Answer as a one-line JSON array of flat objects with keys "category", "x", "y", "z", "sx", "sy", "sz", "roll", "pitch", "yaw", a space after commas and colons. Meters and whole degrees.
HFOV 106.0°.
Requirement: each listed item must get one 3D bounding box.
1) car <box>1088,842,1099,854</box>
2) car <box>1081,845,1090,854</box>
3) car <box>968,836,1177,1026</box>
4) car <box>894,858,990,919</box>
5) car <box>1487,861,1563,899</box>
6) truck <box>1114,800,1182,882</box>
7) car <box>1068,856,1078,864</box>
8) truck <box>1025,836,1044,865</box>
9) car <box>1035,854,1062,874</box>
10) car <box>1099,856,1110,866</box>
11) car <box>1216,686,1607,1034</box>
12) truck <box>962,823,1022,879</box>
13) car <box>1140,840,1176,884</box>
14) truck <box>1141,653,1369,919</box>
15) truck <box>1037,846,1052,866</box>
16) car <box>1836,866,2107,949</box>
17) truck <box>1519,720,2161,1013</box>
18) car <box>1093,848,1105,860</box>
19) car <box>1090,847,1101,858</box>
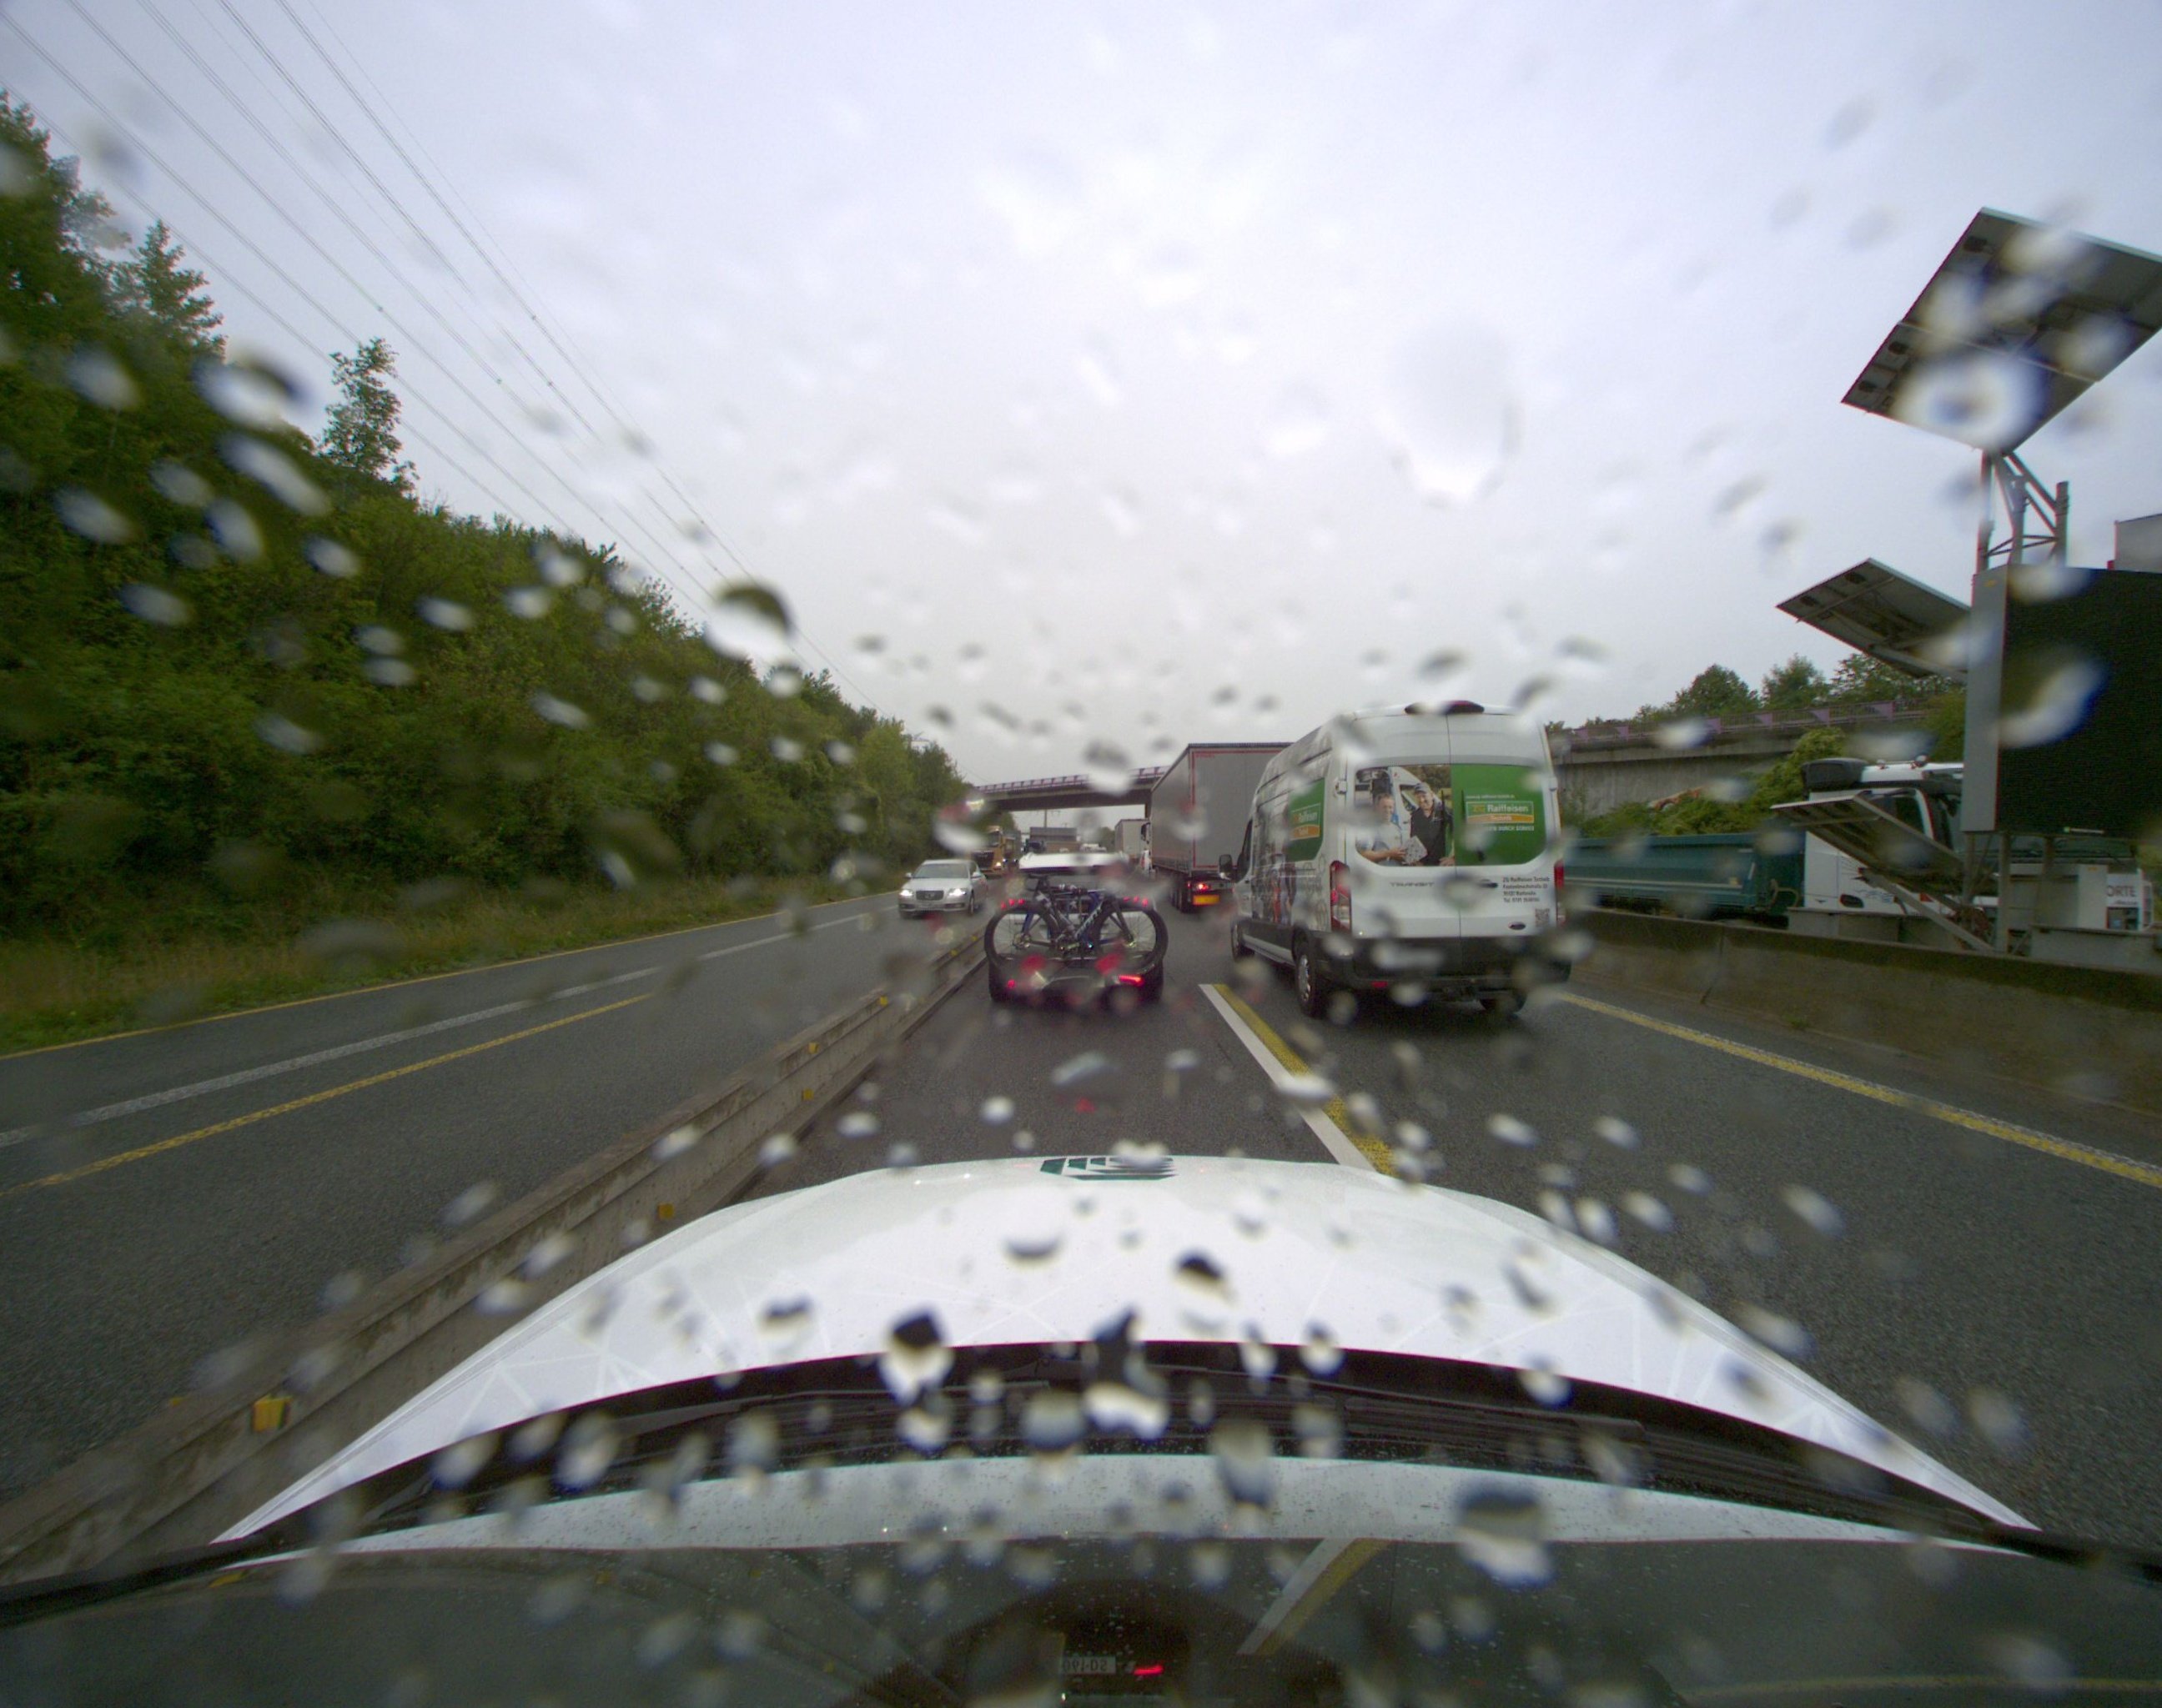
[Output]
[{"category": "car", "x": 2.523, "y": -1.166, "z": 164.637, "sx": 2.231, "sy": 2.307, "sz": 4.573, "roll": -1, "pitch": -1, "yaw": 2}, {"category": "car", "x": 1.104, "y": -1.023, "z": 190.648, "sx": 1.986, "sy": 2.126, "sz": 4.528, "roll": -1, "pitch": -1, "yaw": 2}, {"category": "car", "x": 0.032, "y": 0.693, "z": 9.426, "sx": 1.803, "sy": 1.637, "sz": 4.638, "roll": -1, "pitch": -1, "yaw": 3}, {"category": "car", "x": -3.580, "y": 0.838, "z": 21.750, "sx": 1.774, "sy": 1.443, "sz": 4.328, "roll": -1, "pitch": -1, "yaw": 0}, {"category": "car", "x": 22.556, "y": 1.293, "z": 41.557, "sx": 1.839, "sy": 1.809, "sz": 4.161, "roll": -1, "pitch": -1, "yaw": 4}, {"category": "truck", "x": 5.223, "y": -0.835, "z": 67.677, "sx": 4.724, "sy": 5.673, "sz": 20.389, "roll": -1, "pitch": 0, "yaw": 3}, {"category": "car", "x": -1.473, "y": 1.082, "z": 144.240, "sx": 1.681, "sy": 1.409, "sz": 3.929, "roll": -1, "pitch": -1, "yaw": 0}, {"category": "truck", "x": -7.151, "y": -0.400, "z": 123.723, "sx": 2.760, "sy": 4.123, "sz": 16.902, "roll": -1, "pitch": 0, "yaw": -4}, {"category": "car", "x": -2.645, "y": 0.806, "z": 66.967, "sx": 1.928, "sy": 1.607, "sz": 4.121, "roll": -1, "pitch": -1, "yaw": 1}, {"category": "car", "x": 3.473, "y": 1.075, "z": 122.012, "sx": 1.632, "sy": 1.497, "sz": 3.667, "roll": -1, "pitch": -1, "yaw": 2}, {"category": "car", "x": 3.061, "y": 0.070, "z": 9.373, "sx": 2.136, "sy": 2.676, "sz": 6.119, "roll": -1, "pitch": -1, "yaw": 1}, {"category": "truck", "x": -6.298, "y": -0.152, "z": 59.953, "sx": 2.671, "sy": 3.656, "sz": 12.316, "roll": -1, "pitch": 0, "yaw": 2}, {"category": "car", "x": 4.040, "y": 0.402, "z": 43.068, "sx": 1.663, "sy": 2.180, "sz": 4.537, "roll": -1, "pitch": -1, "yaw": 3}, {"category": "truck", "x": 4.474, "y": -1.392, "z": 27.721, "sx": 3.965, "sy": 5.673, "sz": 20.382, "roll": -1, "pitch": 0, "yaw": 2}, {"category": "truck", "x": -7.798, "y": 0.443, "z": 175.015, "sx": 2.456, "sy": 4.123, "sz": 10.087, "roll": -1, "pitch": -1, "yaw": 0}, {"category": "car", "x": 22.388, "y": 1.258, "z": 20.835, "sx": 1.934, "sy": 1.829, "sz": 4.731, "roll": -1, "pitch": -1, "yaw": 4}, {"category": "truck", "x": 10.778, "y": 0.166, "z": 13.311, "sx": 2.511, "sy": 3.132, "sz": 9.121, "roll": -1, "pitch": -1, "yaw": 1}, {"category": "car", "x": 3.020, "y": -0.029, "z": 136.112, "sx": 1.986, "sy": 2.014, "sz": 4.001, "roll": -1, "pitch": -1, "yaw": 1}, {"category": "car", "x": 2.736, "y": -0.314, "z": 151.883, "sx": 1.986, "sy": 2.014, "sz": 4.001, "roll": -1, "pitch": -1, "yaw": 2}]
